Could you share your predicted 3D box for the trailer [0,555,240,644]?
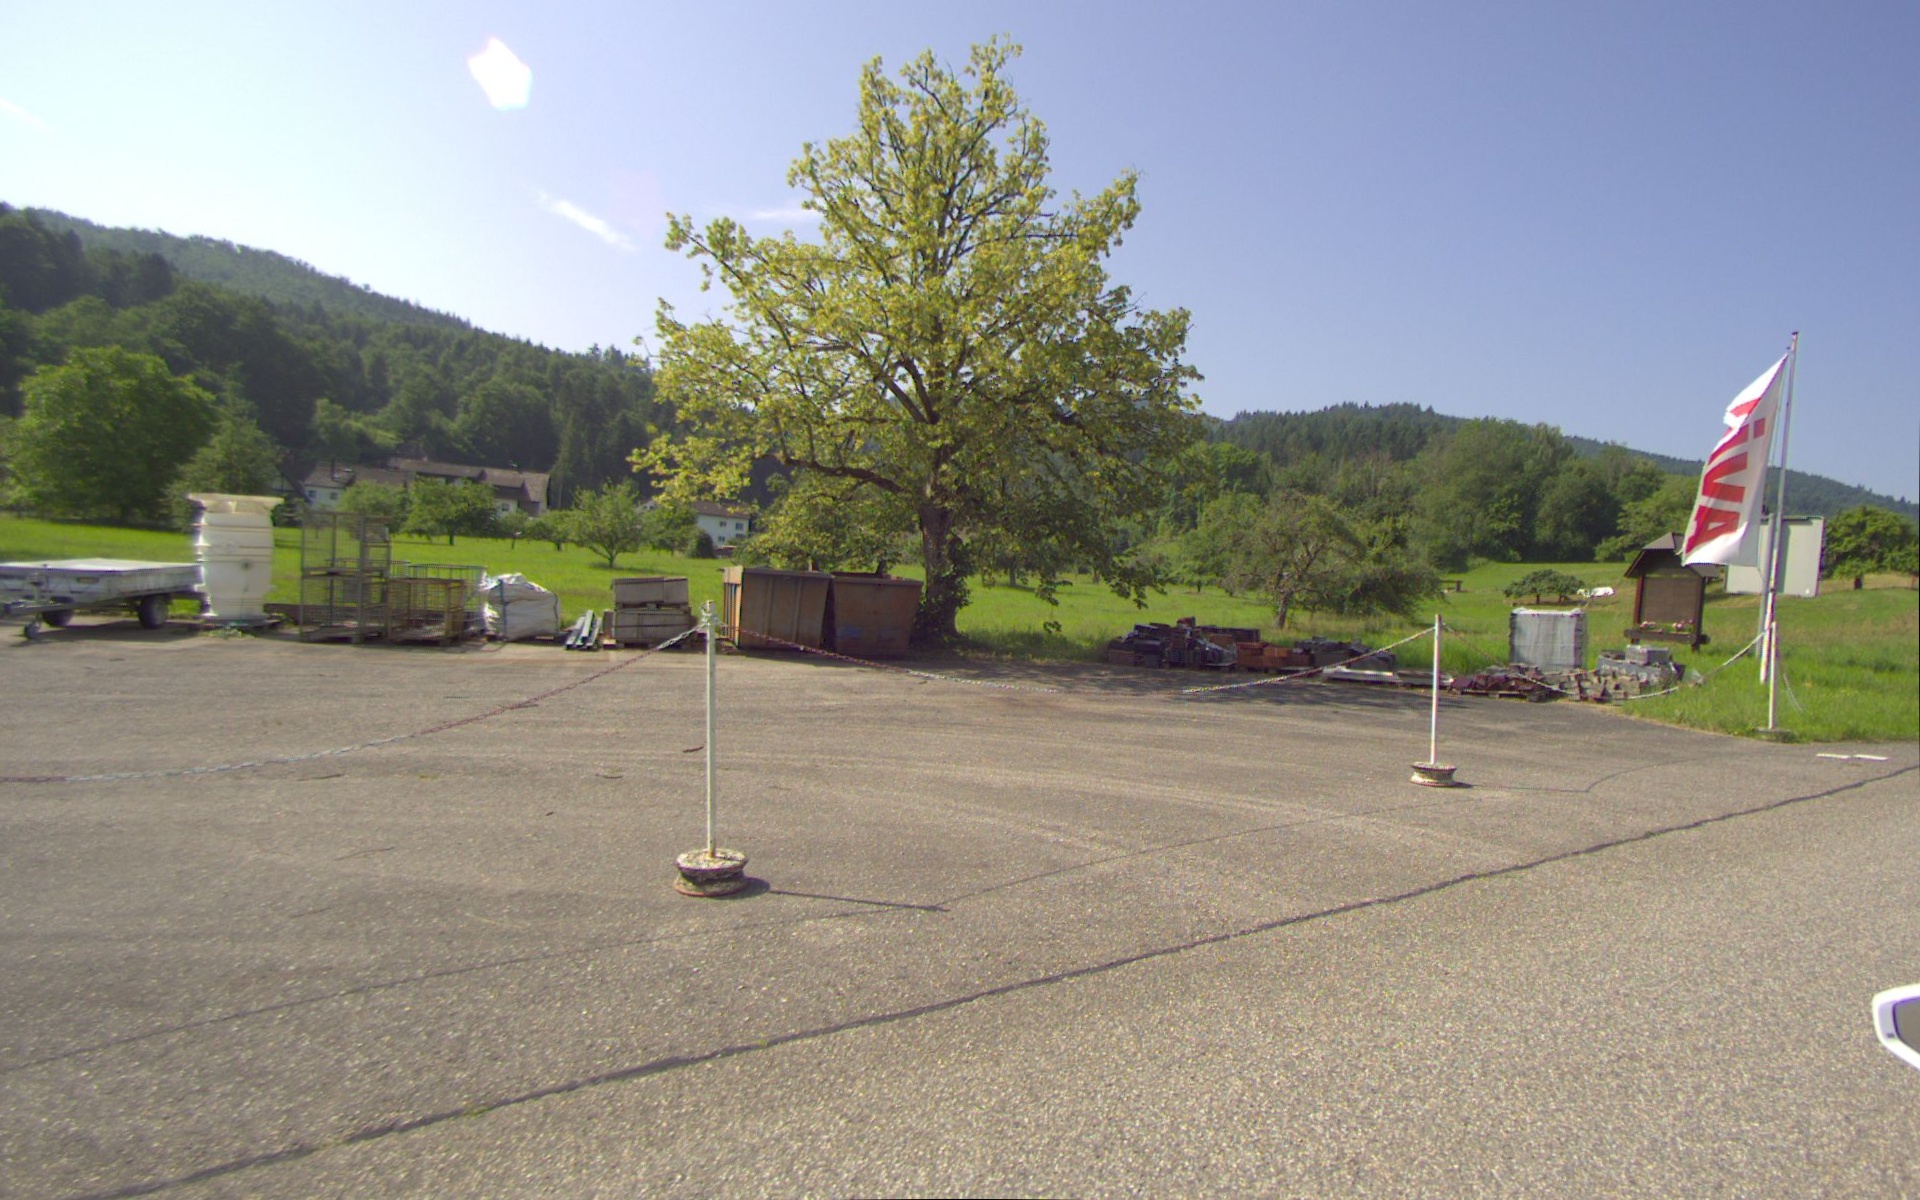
[{"bbox_3d":[-12.687,-0.083,14.928,1.836,0.952,3.933,4,3,-14],"label":"trailer"}]
